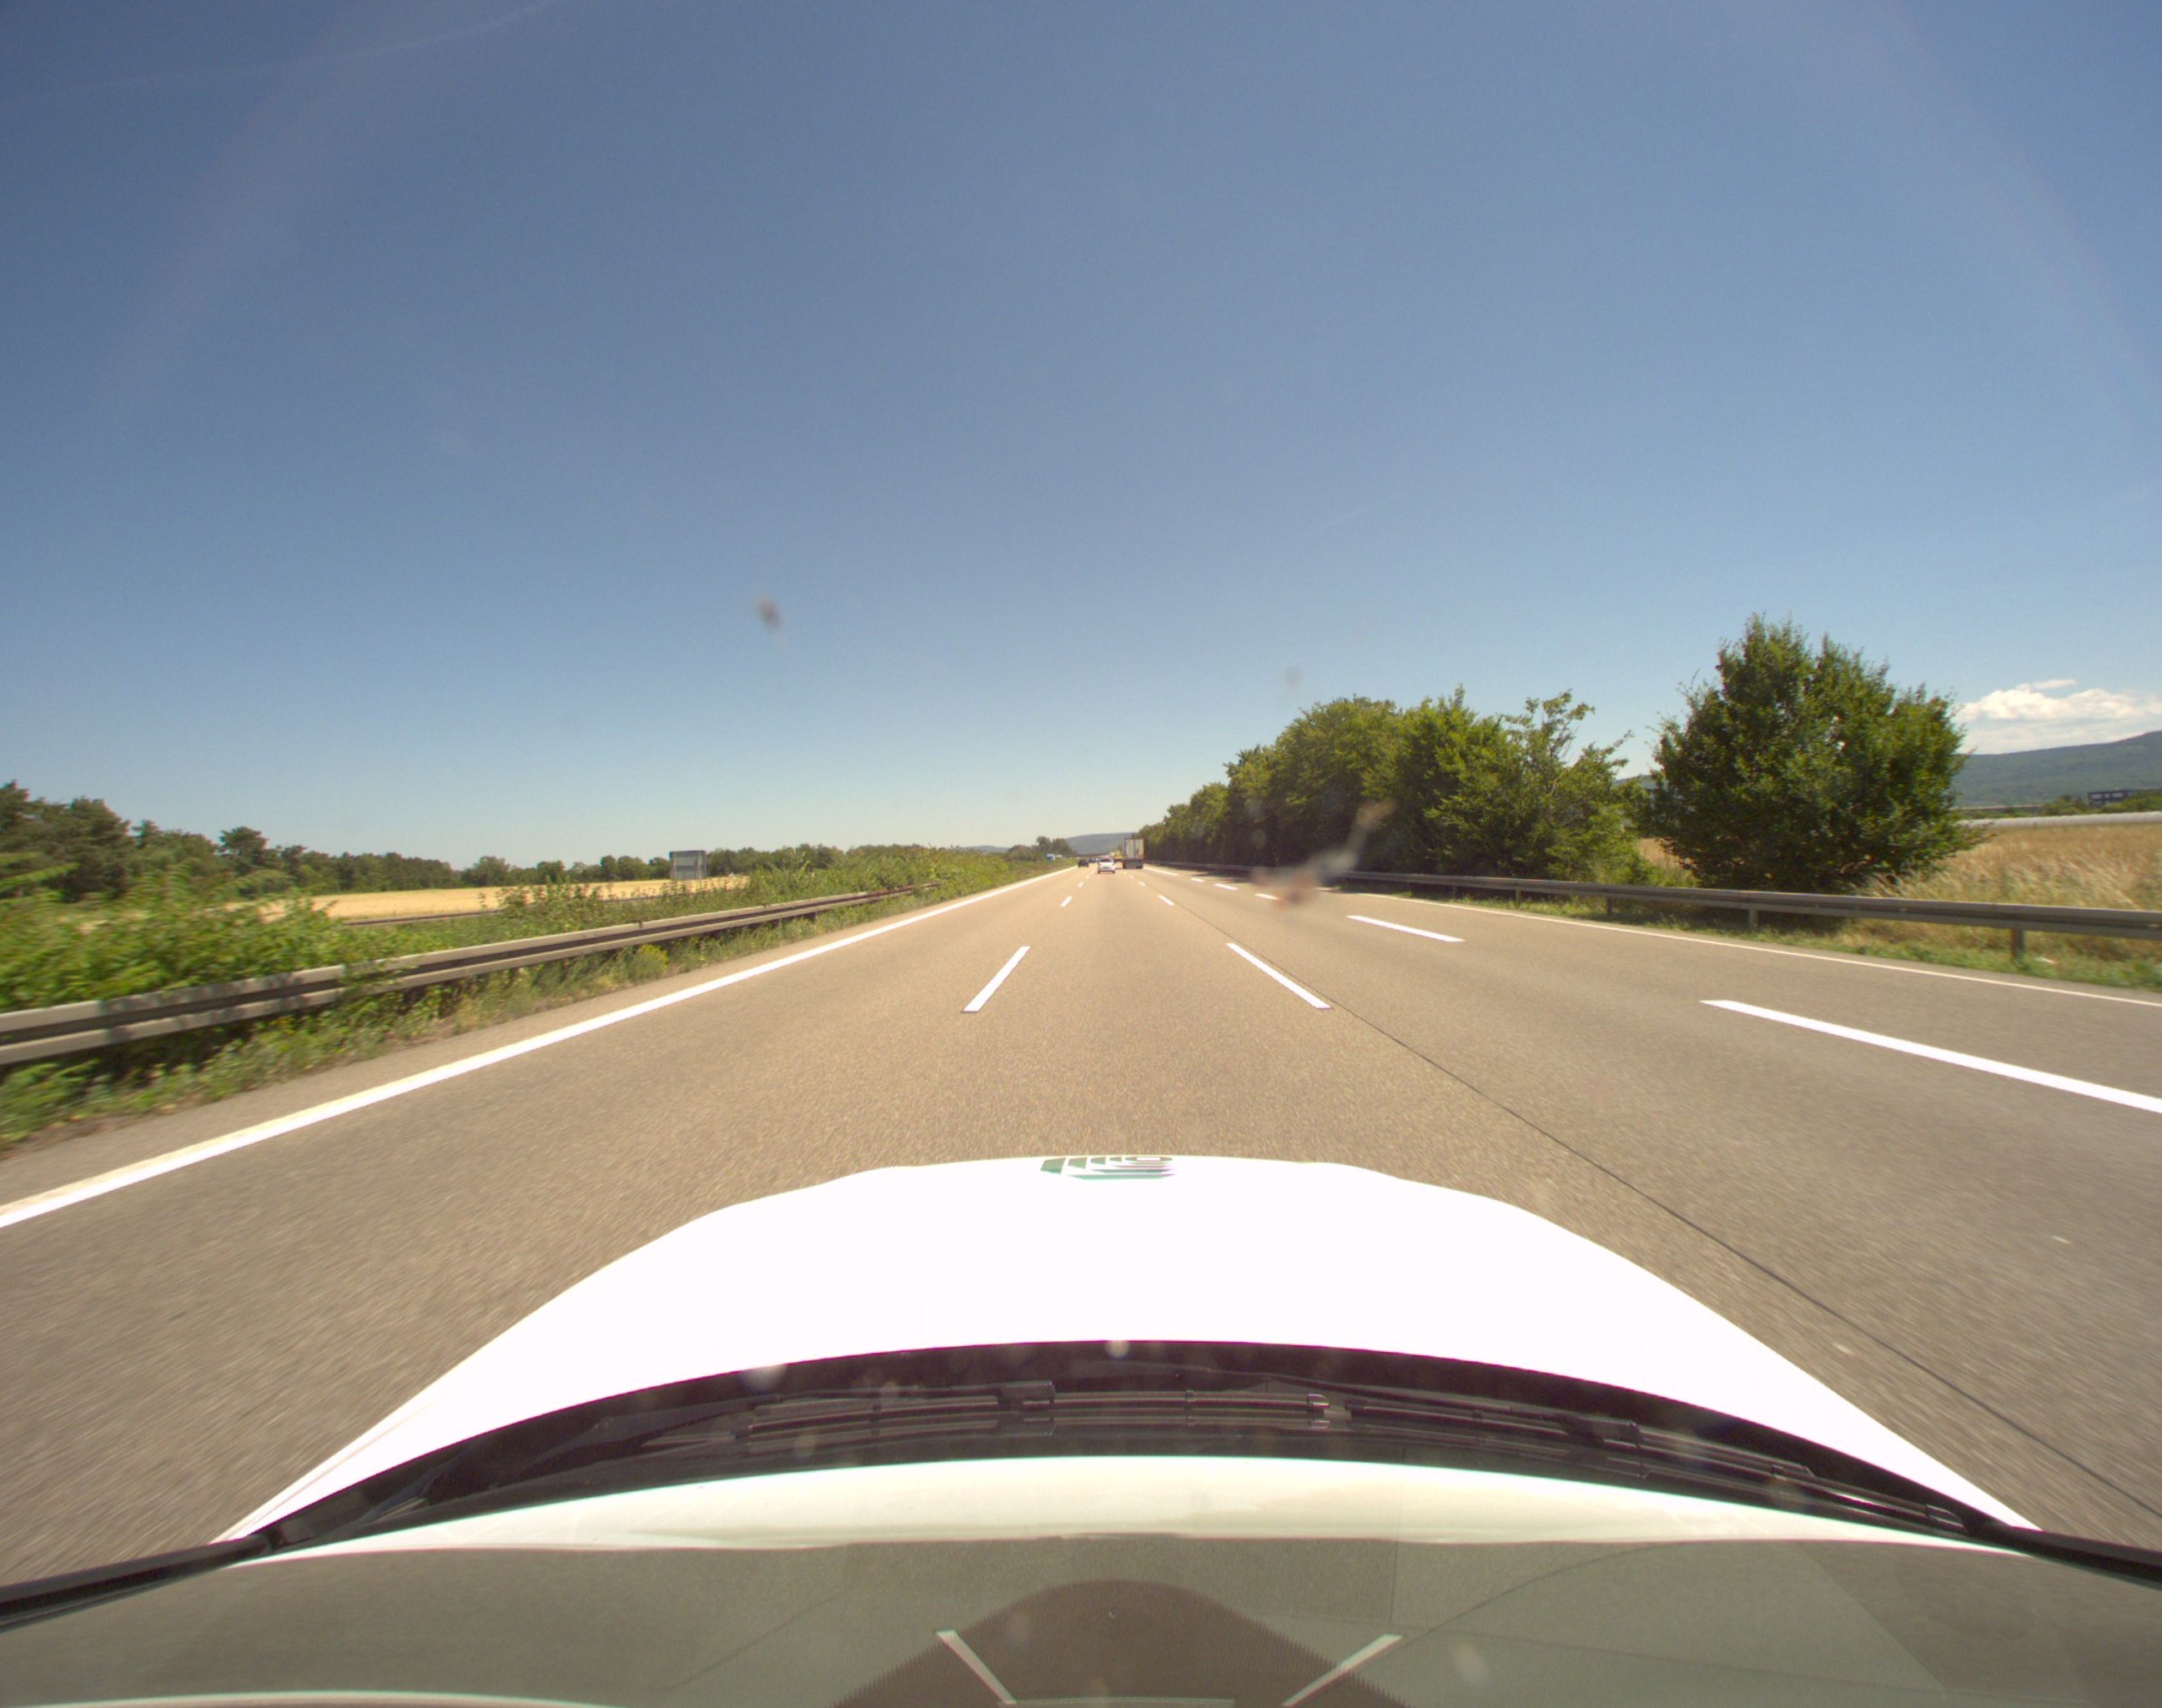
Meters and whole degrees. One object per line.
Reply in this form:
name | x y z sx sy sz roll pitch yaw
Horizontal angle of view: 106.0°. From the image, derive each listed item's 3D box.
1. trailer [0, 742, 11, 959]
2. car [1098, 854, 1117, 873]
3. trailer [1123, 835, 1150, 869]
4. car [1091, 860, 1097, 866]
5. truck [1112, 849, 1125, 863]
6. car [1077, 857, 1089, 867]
trailer | -20.121 -0.087 6.829 3.169 3.699 14.382 0 0 1
car | 2.536 0.912 79.917 1.726 1.684 4.000 -2 0 1
trailer | 7.576 -0.254 112.830 3.205 4.345 13.635 0 0 2
car | 3.775 2.595 238.175 1.789 1.551 4.001 -1 -1 1
truck | 12.006 0.684 263.925 3.857 4.345 13.863 0 0 1
car | 0.385 1.321 138.031 1.987 1.712 4.000 0 0 1
